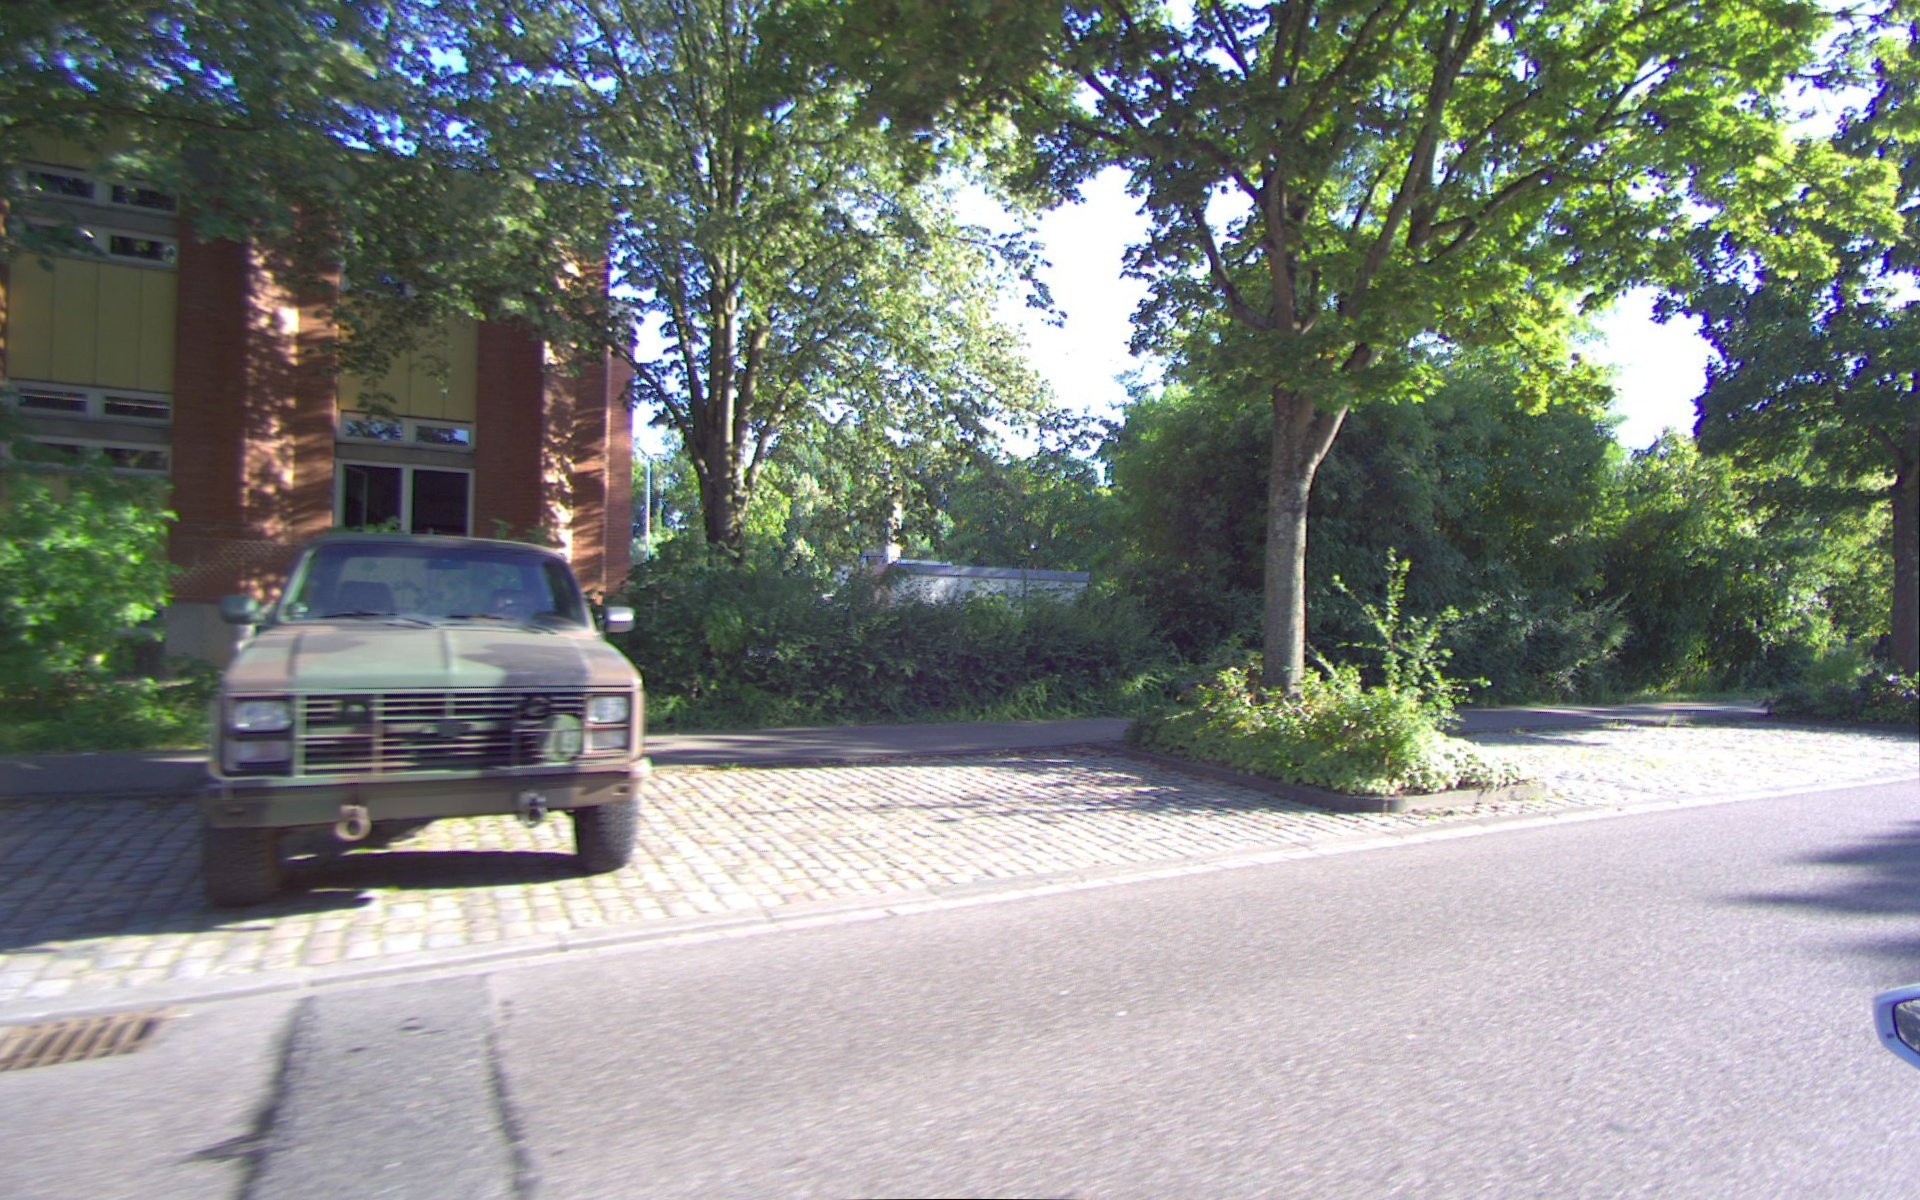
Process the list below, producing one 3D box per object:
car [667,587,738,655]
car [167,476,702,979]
[{"bbox_3d":[-7.647,0.651,29.580,1.757,1.839,3.985,1,-2,-18],"label":"car"},{"bbox_3d":[-3.551,0.524,6.795,2.150,2.047,4.979,2,0,-31],"label":"car"}]
